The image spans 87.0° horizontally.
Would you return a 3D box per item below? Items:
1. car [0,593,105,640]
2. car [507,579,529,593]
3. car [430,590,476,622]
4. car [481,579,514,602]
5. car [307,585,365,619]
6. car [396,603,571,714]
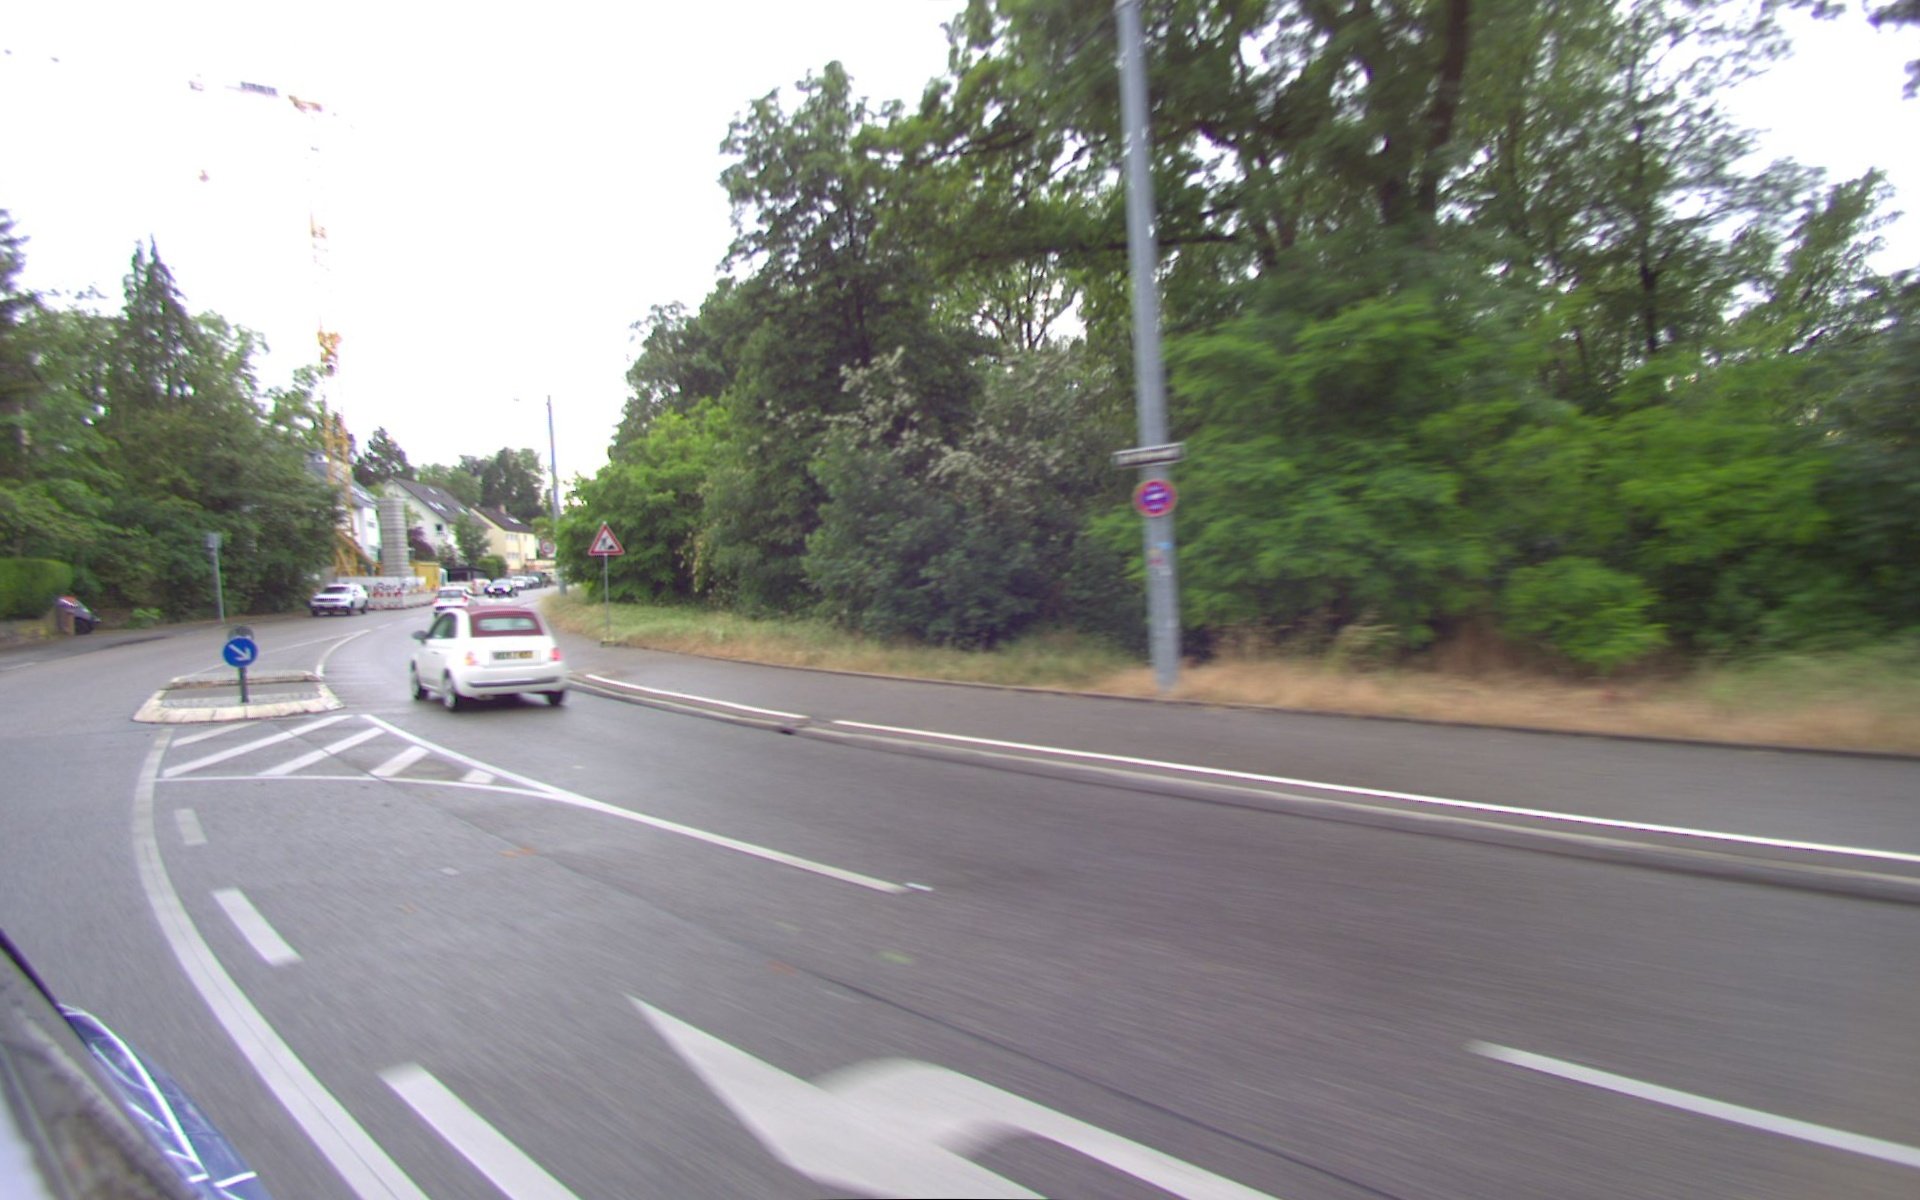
[{"bbox_3d":[-33.373,0.621,36.582,3.429,1.422,1.432,-6,3,-26],"label":"car"},{"bbox_3d":[-47.777,-1.511,109.360,1.708,1.501,4.012,0,2,-17],"label":"car"},{"bbox_3d":[-25.524,0.266,51.049,1.609,1.465,3.815,-1,2,-20],"label":"car"},{"bbox_3d":[-37.771,-0.775,82.658,1.966,1.730,4.012,-1,0,-18],"label":"car"},{"bbox_3d":[-32.565,0.076,52.917,1.801,1.607,4.013,0,1,-20],"label":"car"},{"bbox_3d":[-7.402,0.809,15.556,1.546,1.488,3.673,1,-1,-40],"label":"car"}]
